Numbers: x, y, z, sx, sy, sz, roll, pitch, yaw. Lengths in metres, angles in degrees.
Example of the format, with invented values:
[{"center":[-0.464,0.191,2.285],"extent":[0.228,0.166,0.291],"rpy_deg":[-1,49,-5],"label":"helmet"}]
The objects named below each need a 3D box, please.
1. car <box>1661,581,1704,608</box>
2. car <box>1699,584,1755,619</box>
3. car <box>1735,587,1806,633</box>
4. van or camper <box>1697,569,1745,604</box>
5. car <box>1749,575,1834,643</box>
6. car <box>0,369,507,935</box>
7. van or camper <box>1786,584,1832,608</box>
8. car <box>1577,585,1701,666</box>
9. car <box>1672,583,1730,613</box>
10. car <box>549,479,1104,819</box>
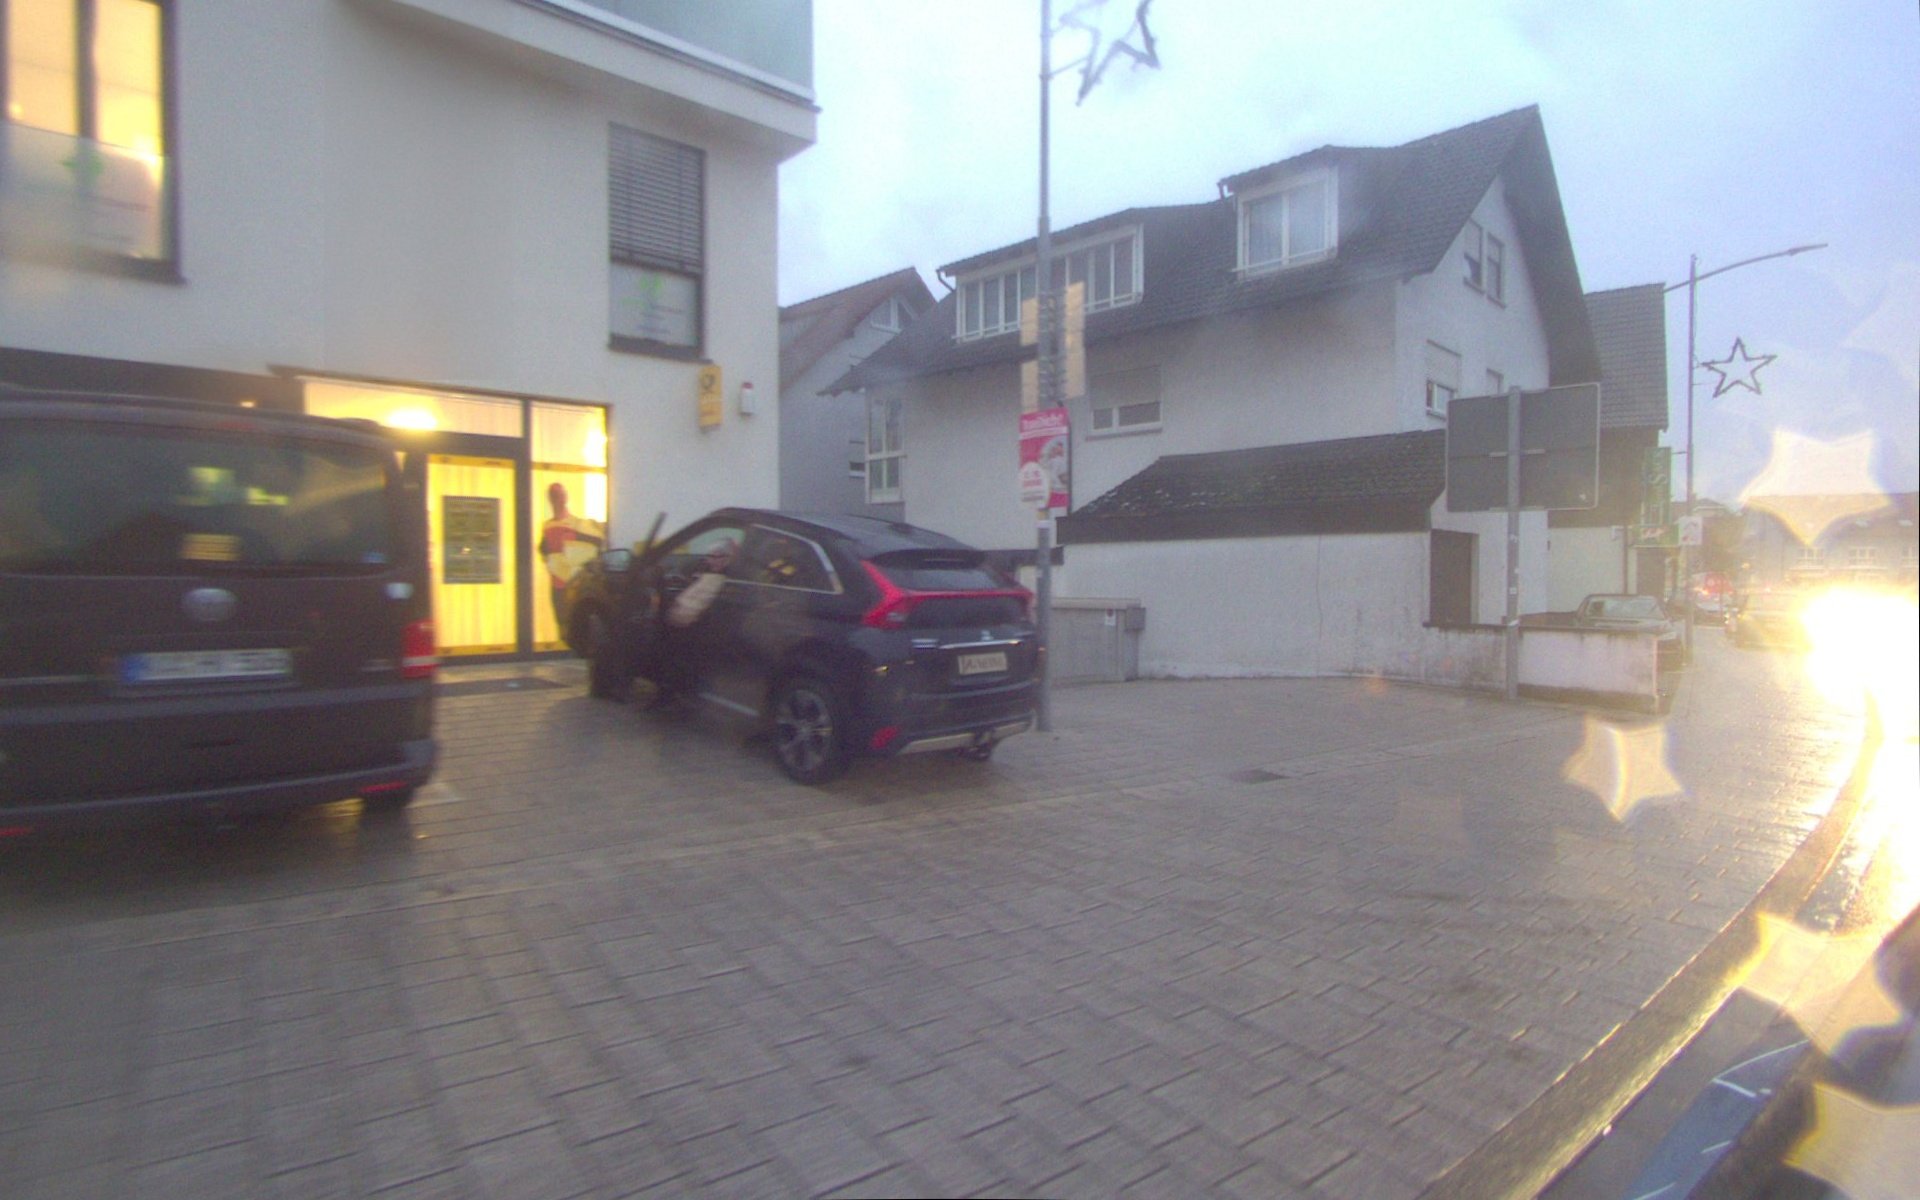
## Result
[{"center":[45.111,-0.353,63.277],"extent":[1.655,1.595,4.451],"rpy_deg":[1,2,29],"label":"car"},{"center":[36.485,0.023,48.206],"extent":[1.645,1.473,4.191],"rpy_deg":[3,3,31],"label":"car"},{"center":[27.848,0.320,34.838],"extent":[1.640,1.433,2.693],"rpy_deg":[4,2,34],"label":"car"},{"center":[62.060,-1.121,82.624],"extent":[2.229,2.702,6.486],"rpy_deg":[1,1,30],"label":"van or camper"},{"center":[24.646,0.223,30.071],"extent":[1.767,1.803,3.944],"rpy_deg":[4,3,39],"label":"car"},{"center":[-4.260,-0.076,5.605],"extent":[1.916,1.942,4.575],"rpy_deg":[-1,7,-41],"label":"car"},{"center":[51.203,-0.270,61.089],"extent":[1.555,1.372,3.384],"rpy_deg":[2,2,31],"label":"van or camper"},{"center":[13.858,0.444,20.839],"extent":[1.756,1.411,3.874],"rpy_deg":[3,2,29],"label":"car"},{"center":[41.885,-0.137,57.294],"extent":[1.945,1.552,4.958],"rpy_deg":[-2,0,29],"label":"car"},{"center":[-1.222,0.109,7.611],"extent":[4.178,1.658,1.776],"rpy_deg":[10,7,42],"label":"car"}]
